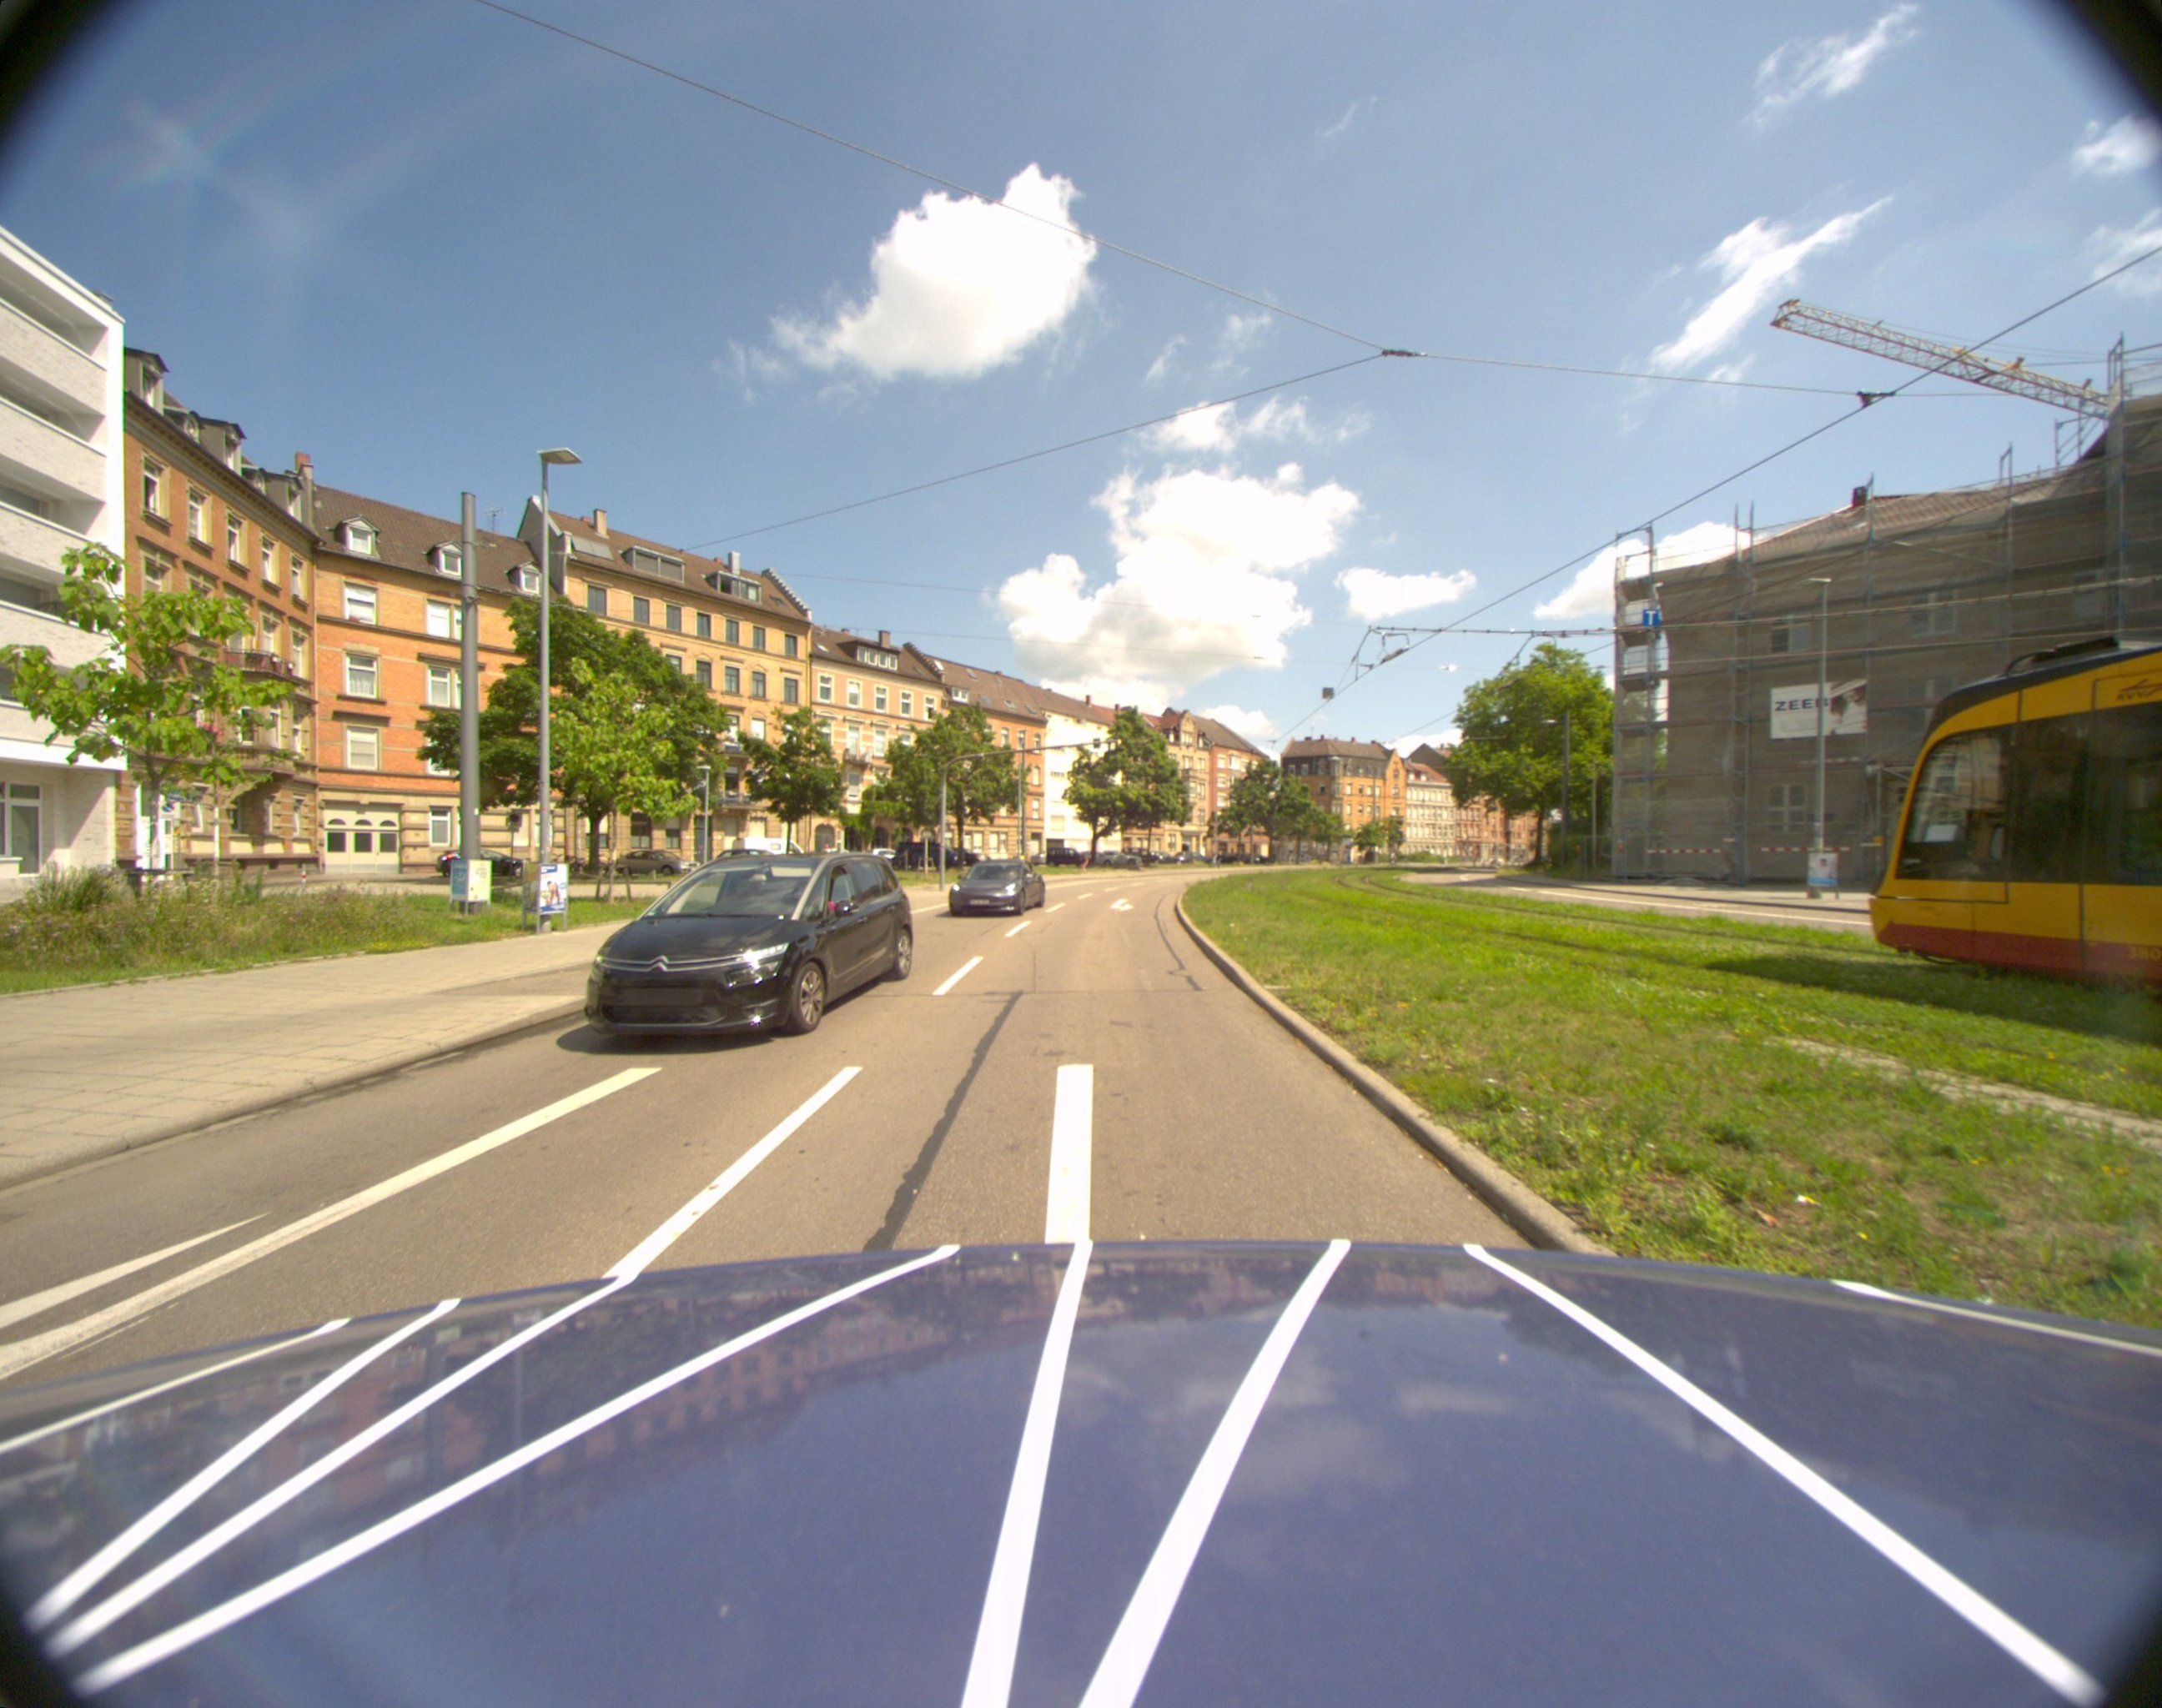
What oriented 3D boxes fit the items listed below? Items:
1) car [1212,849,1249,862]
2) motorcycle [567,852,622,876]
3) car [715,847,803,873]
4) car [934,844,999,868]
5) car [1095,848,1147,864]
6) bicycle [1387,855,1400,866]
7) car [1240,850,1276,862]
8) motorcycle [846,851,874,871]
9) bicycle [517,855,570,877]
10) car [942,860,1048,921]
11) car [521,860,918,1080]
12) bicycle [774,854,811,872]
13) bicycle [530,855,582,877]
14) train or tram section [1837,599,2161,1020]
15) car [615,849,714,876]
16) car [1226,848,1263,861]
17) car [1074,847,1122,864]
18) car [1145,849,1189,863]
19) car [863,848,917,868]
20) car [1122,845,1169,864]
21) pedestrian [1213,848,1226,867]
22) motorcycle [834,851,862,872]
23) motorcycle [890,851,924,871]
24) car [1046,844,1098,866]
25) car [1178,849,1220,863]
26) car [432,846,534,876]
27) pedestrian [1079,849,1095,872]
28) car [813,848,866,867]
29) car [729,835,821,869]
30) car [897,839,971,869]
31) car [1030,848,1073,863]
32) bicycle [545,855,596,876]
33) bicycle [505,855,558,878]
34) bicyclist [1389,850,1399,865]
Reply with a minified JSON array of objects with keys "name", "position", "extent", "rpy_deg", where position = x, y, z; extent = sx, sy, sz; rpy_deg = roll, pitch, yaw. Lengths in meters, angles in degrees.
[{"name":"car","position":[16.939,0.127,86.019],"extent":[3.993,1.372,1.963],"rpy_deg":[-1,0,12]},{"name":"motorcycle","position":[-23.311,0.473,36.378],"extent":[2.387,1.119,0.814],"rpy_deg":[-1,0,16]},{"name":"car","position":[-17.968,0.328,42.454],"extent":[4.252,1.419,1.807],"rpy_deg":[0,1,10]},{"name":"car","position":[-8.172,0.124,54.596],"extent":[4.167,1.646,1.918],"rpy_deg":[-1,0,13]},{"name":"car","position":[3.687,0.149,69.466],"extent":[4.688,1.372,1.853],"rpy_deg":[-1,0,5]},{"name":"bicycle","position":[39.271,0.810,95.467],"extent":[0.693,1.236,1.843],"rpy_deg":[7,4,43]},{"name":"car","position":[21.240,0.234,91.034],"extent":[3.992,1.346,1.964],"rpy_deg":[-1,0,17]},{"name":"motorcycle","position":[-12.926,0.412,44.441],"extent":[1.783,1.160,0.641],"rpy_deg":[0,1,38]},{"name":"bicycle","position":[-24.234,0.540,34.268],"extent":[2.387,0.963,0.544],"rpy_deg":[-1,0,16]},{"name":"car","position":[-2.184,0.897,20.533],"extent":[1.913,1.386,4.315],"rpy_deg":[-1,0,6]},{"name":"car","position":[-3.222,0.904,7.889],"extent":[1.875,1.610,4.190],"rpy_deg":[-1,0,4]},{"name":"bicycle","position":[-15.318,0.467,40.357],"extent":[0.542,0.896,1.825],"rpy_deg":[-1,0,36]},{"name":"bicycle","position":[-24.064,0.537,34.831],"extent":[2.387,0.963,0.544],"rpy_deg":[-1,0,16]},{"name":"train or tram section","position":[10.827,-0.332,2.407],"extent":[3.224,3.578,13.498],"rpy_deg":[1,0,-1]},{"name":"car","position":[-20.764,0.410,37.913],"extent":[4.156,1.237,1.865],"rpy_deg":[-1,0,15]},{"name":"car","position":[19.031,0.069,88.382],"extent":[3.995,1.372,1.962],"rpy_deg":[-1,0,7]},{"name":"car","position":[1.529,0.119,66.971],"extent":[4.081,1.397,1.853],"rpy_deg":[-1,0,4]},{"name":"car","position":[8.492,0.197,75.429],"extent":[4.265,1.372,1.853],"rpy_deg":[-1,0,3]},{"name":"car","position":[-14.964,0.312,59.721],"extent":[1.659,1.483,3.861],"rpy_deg":[-1,0,40]},{"name":"car","position":[6.134,0.028,72.318],"extent":[4.361,1.731,1.853],"rpy_deg":[-1,0,3]},{"name":"pedestrian","position":[12.927,0.279,70.799],"extent":[0.700,1.695,1.046],"rpy_deg":[1,4,38]},{"name":"motorcycle","position":[-13.422,0.414,43.825],"extent":[1.783,1.160,0.641],"rpy_deg":[0,1,38]},{"name":"motorcycle","position":[-10.521,0.396,45.981],"extent":[1.910,1.160,0.638],"rpy_deg":[0,1,-38]},{"name":"car","position":[-0.732,0.092,64.785],"extent":[4.144,1.731,1.854],"rpy_deg":[-1,0,9]},{"name":"car","position":[12.487,0.237,80.434],"extent":[4.265,1.372,1.853],"rpy_deg":[-1,0,3]},{"name":"car","position":[-30.966,0.354,39.447],"extent":[1.659,1.483,3.861],"rpy_deg":[-1,0,40]},{"name":"pedestrian","position":[0.398,0.415,52.610],"extent":[0.700,1.583,0.907],"rpy_deg":[1,1,39]},{"name":"car","position":[-17.802,0.241,56.140],"extent":[1.564,1.395,3.358],"rpy_deg":[1,1,42]},{"name":"car","position":[-20.874,-0.144,52.029],"extent":[2.111,2.166,5.405],"rpy_deg":[-1,0,40]},{"name":"car","position":[-10.068,0.021,52.209],"extent":[4.623,1.916,1.918],"rpy_deg":[-1,0,9]},{"name":"car","position":[-2.910,0.131,74.594],"extent":[1.833,1.483,4.236],"rpy_deg":[-1,0,40]},{"name":"bicycle","position":[-23.865,0.541,35.500],"extent":[2.387,0.950,0.544],"rpy_deg":[-1,0,16]},{"name":"bicycle","position":[-24.384,0.542,33.715],"extent":[2.387,0.963,0.544],"rpy_deg":[-1,0,16]},{"name":"bicyclist","position":[39.313,0.502,95.479],"extent":[0.694,1.815,0.958],"rpy_deg":[7,4,43]}]
